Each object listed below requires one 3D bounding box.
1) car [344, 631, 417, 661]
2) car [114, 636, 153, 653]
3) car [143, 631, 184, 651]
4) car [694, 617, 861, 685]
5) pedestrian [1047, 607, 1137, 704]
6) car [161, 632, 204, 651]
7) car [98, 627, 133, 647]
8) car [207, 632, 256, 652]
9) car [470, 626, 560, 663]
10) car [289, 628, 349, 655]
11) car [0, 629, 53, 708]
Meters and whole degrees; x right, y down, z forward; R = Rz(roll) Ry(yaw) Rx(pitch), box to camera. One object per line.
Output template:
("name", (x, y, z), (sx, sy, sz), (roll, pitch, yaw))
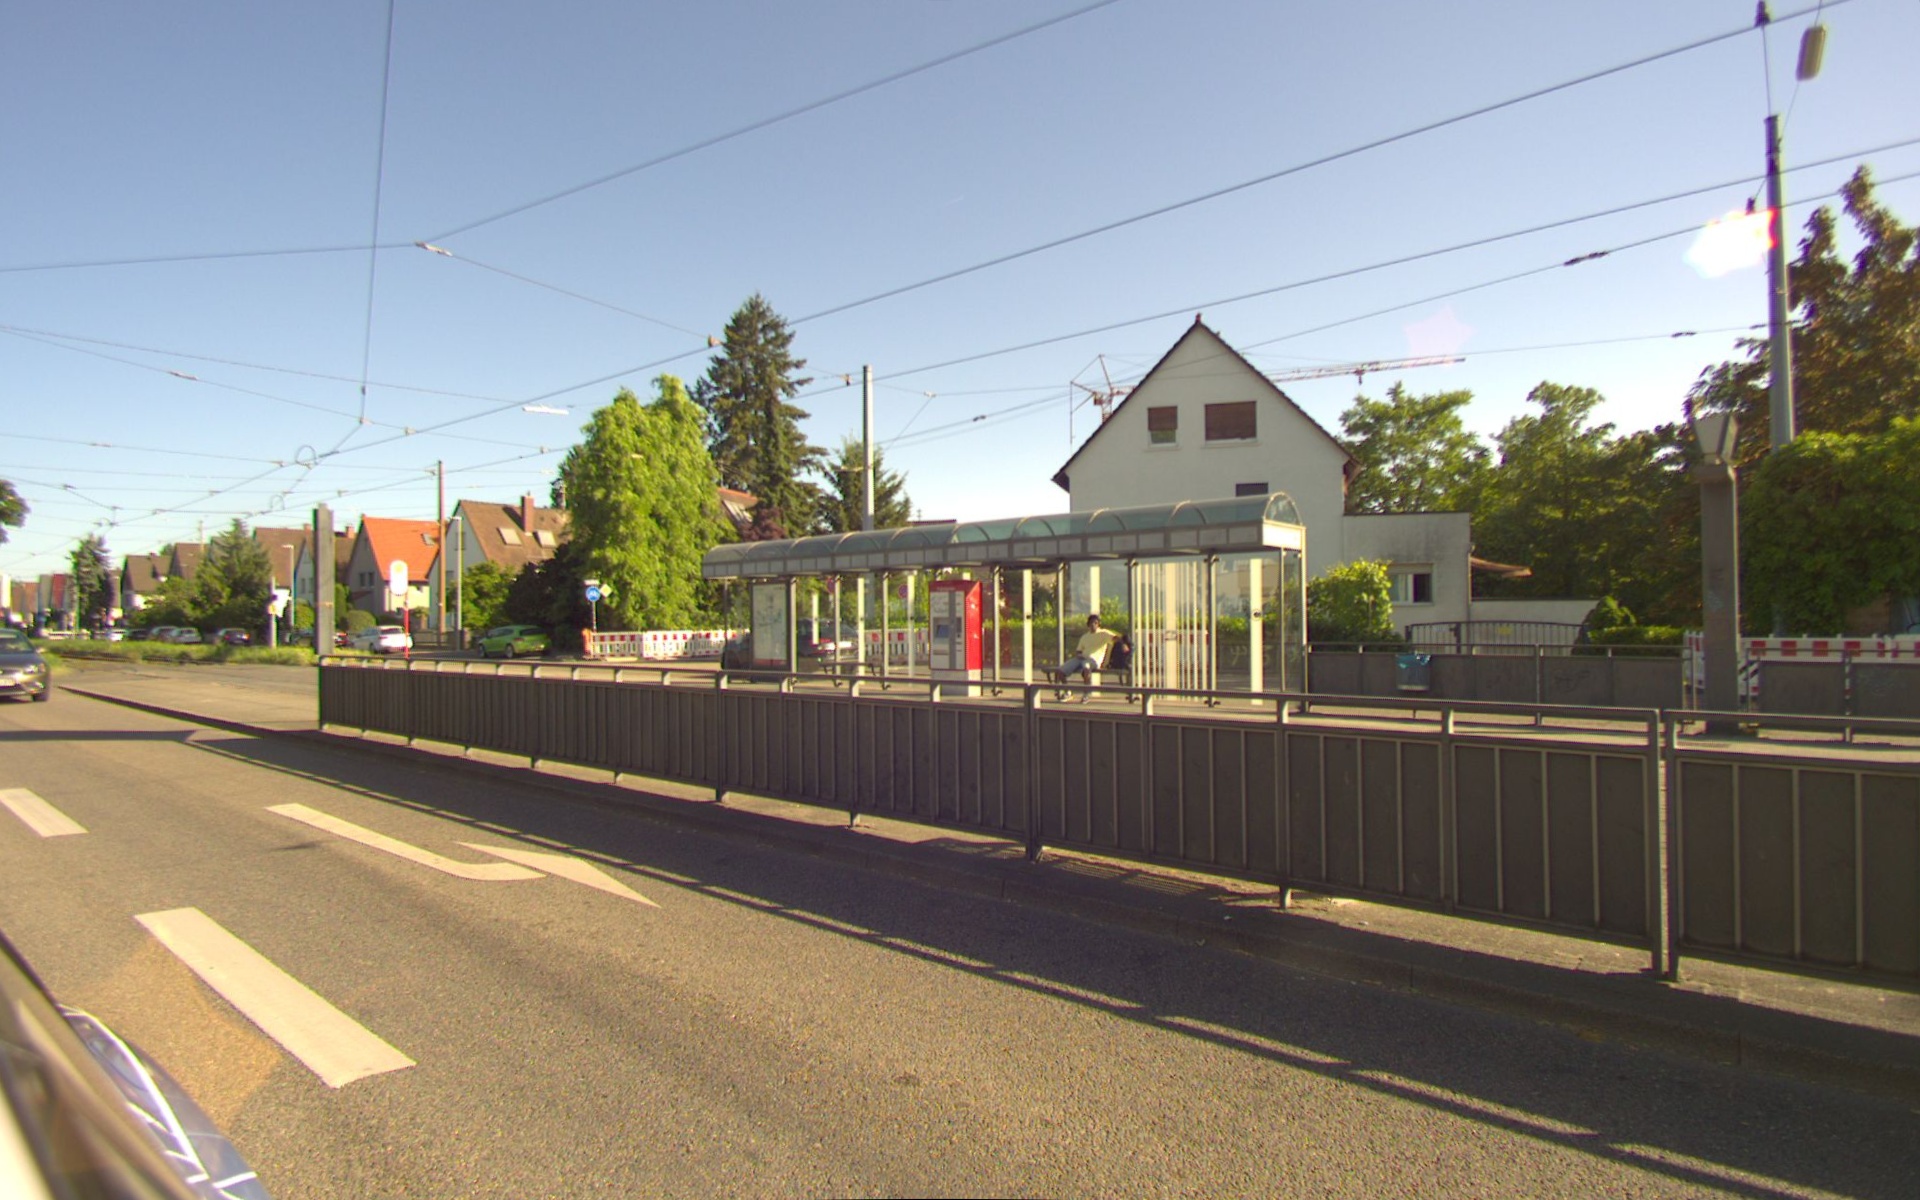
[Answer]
("car", (-31.094, 2.436, 54.259), (4.610, 1.483, 1.865), (-1, 0, 40))
("car", (-76.137, 4.061, 93.195), (4.980, 1.351, 1.973), (-1, 0, 41))
("car", (-67.326, 3.422, 85.522), (4.534, 1.573, 1.864), (-2, 0, 41))
("car", (-4.583, 1.231, 25.048), (4.341, 1.532, 1.717), (-2, -2, 41))
("pedestrian", (2.085, 0.857, 15.969), (1.006, 1.464, 1.050), (-1, -2, 40))
("car", (-63.333, 3.370, 82.423), (4.837, 1.483, 1.864), (-2, 0, 42))
("car", (-82.724, 3.601, 99.128), (4.582, 1.877, 1.973), (-2, -1, 41))
("car", (-52.643, 3.029, 73.091), (4.308, 1.382, 1.972), (-2, -1, 42))
("car", (-19.749, 1.941, 44.905), (4.063, 1.512, 1.974), (-1, 0, 38))
("car", (-38.525, 2.483, 60.784), (4.438, 1.477, 1.887), (-1, 0, 41))
("car", (-19.703, 1.329, 20.185), (4.329, 1.461, 1.758), (-2, -1, 39))
